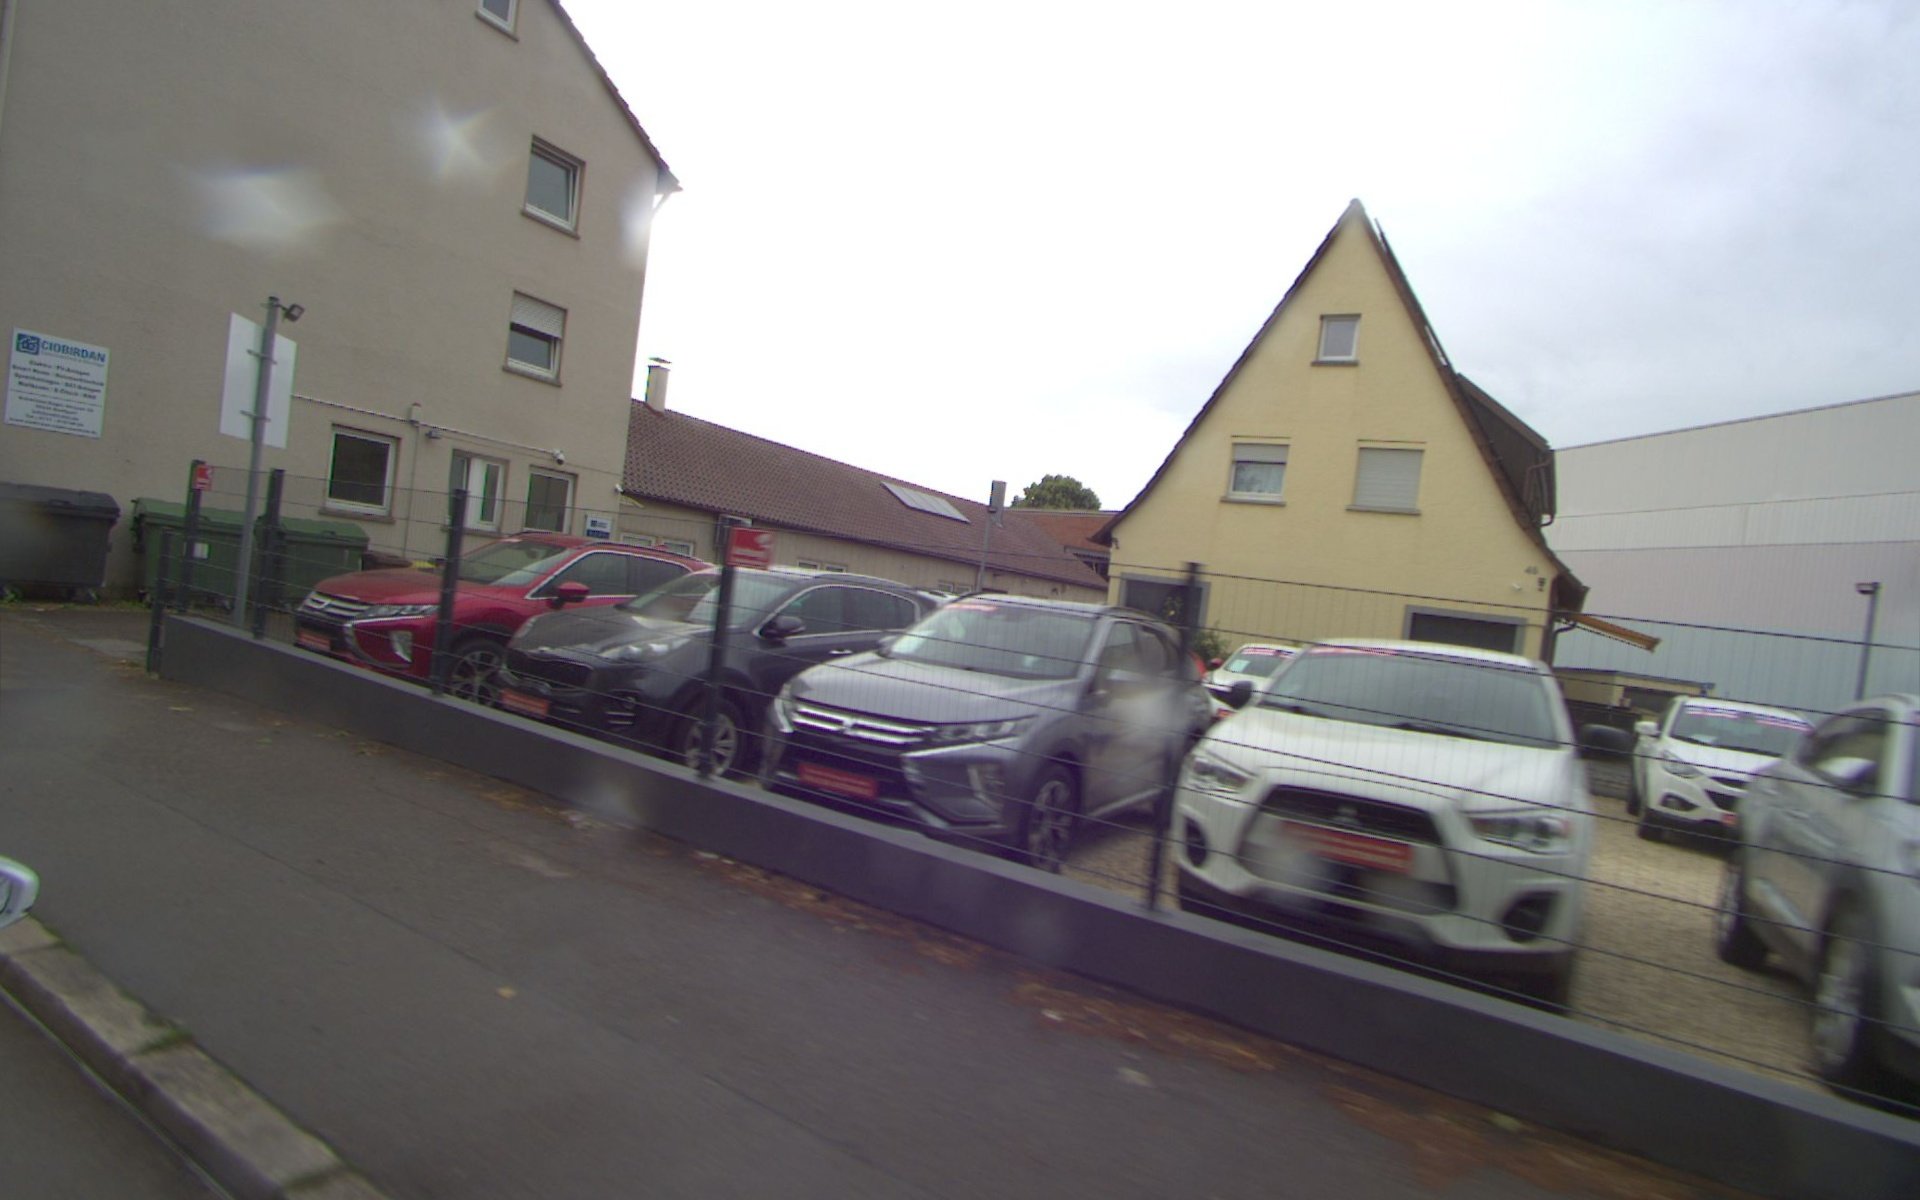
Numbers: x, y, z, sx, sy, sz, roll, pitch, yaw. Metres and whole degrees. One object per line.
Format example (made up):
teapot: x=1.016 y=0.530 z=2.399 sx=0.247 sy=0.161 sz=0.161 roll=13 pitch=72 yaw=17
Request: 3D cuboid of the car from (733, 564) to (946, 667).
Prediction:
car: x=-2.453 y=0.351 z=20.978 sx=3.973 sy=1.611 sz=1.801 roll=9 pitch=-3 yaw=-41

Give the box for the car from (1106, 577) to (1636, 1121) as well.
car: x=2.496 y=1.044 z=5.622 sx=1.761 sy=1.744 sz=3.957 roll=6 pitch=-2 yaw=31

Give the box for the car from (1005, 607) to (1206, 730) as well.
car: x=2.545 y=1.183 z=16.631 sx=1.764 sy=1.618 sz=4.094 roll=6 pitch=-3 yaw=30

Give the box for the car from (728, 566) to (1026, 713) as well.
car: x=-1.166 y=0.528 z=13.822 sx=3.567 sy=1.548 sz=1.812 roll=6 pitch=-2 yaw=31

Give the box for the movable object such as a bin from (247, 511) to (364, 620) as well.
movable object such as a bin: x=-10.047 y=-0.519 z=15.457 sx=0.993 sy=1.529 sz=1.110 roll=6 pitch=2 yaw=31

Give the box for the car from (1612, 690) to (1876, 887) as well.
car: x=9.156 y=2.040 z=12.162 sx=1.839 sy=1.646 sz=4.509 roll=7 pitch=-1 yaw=31

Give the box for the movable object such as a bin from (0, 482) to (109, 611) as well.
movable object such as a bin: x=-11.755 y=-0.679 z=12.800 sx=0.970 sy=1.529 sz=1.110 roll=6 pitch=2 yaw=31

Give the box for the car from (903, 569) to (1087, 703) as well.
car: x=0.744 y=0.731 z=18.238 sx=1.695 sy=2.036 sz=3.588 roll=6 pitch=-2 yaw=29

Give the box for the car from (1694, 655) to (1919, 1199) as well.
car: x=4.737 y=1.345 z=4.375 sx=1.967 sy=1.788 sz=4.310 roll=6 pitch=-2 yaw=31

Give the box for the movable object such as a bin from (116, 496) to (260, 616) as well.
movable object such as a bin: x=-10.816 y=-0.602 z=14.113 sx=1.092 sy=1.529 sz=1.234 roll=6 pitch=2 yaw=31

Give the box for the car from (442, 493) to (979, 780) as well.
car: x=-1.768 y=0.390 z=8.572 sx=1.839 sy=1.756 sz=4.237 roll=6 pitch=-3 yaw=31

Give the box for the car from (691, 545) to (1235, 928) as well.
car: x=0.362 y=0.834 z=7.073 sx=1.839 sy=1.756 sz=4.075 roll=6 pitch=-3 yaw=31

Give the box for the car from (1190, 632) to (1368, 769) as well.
car: x=4.826 y=1.470 z=14.857 sx=1.728 sy=1.549 sz=3.774 roll=7 pitch=-2 yaw=28

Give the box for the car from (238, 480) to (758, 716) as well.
car: x=-4.218 y=0.130 z=9.941 sx=1.839 sy=1.756 sz=4.237 roll=6 pitch=-3 yaw=31
